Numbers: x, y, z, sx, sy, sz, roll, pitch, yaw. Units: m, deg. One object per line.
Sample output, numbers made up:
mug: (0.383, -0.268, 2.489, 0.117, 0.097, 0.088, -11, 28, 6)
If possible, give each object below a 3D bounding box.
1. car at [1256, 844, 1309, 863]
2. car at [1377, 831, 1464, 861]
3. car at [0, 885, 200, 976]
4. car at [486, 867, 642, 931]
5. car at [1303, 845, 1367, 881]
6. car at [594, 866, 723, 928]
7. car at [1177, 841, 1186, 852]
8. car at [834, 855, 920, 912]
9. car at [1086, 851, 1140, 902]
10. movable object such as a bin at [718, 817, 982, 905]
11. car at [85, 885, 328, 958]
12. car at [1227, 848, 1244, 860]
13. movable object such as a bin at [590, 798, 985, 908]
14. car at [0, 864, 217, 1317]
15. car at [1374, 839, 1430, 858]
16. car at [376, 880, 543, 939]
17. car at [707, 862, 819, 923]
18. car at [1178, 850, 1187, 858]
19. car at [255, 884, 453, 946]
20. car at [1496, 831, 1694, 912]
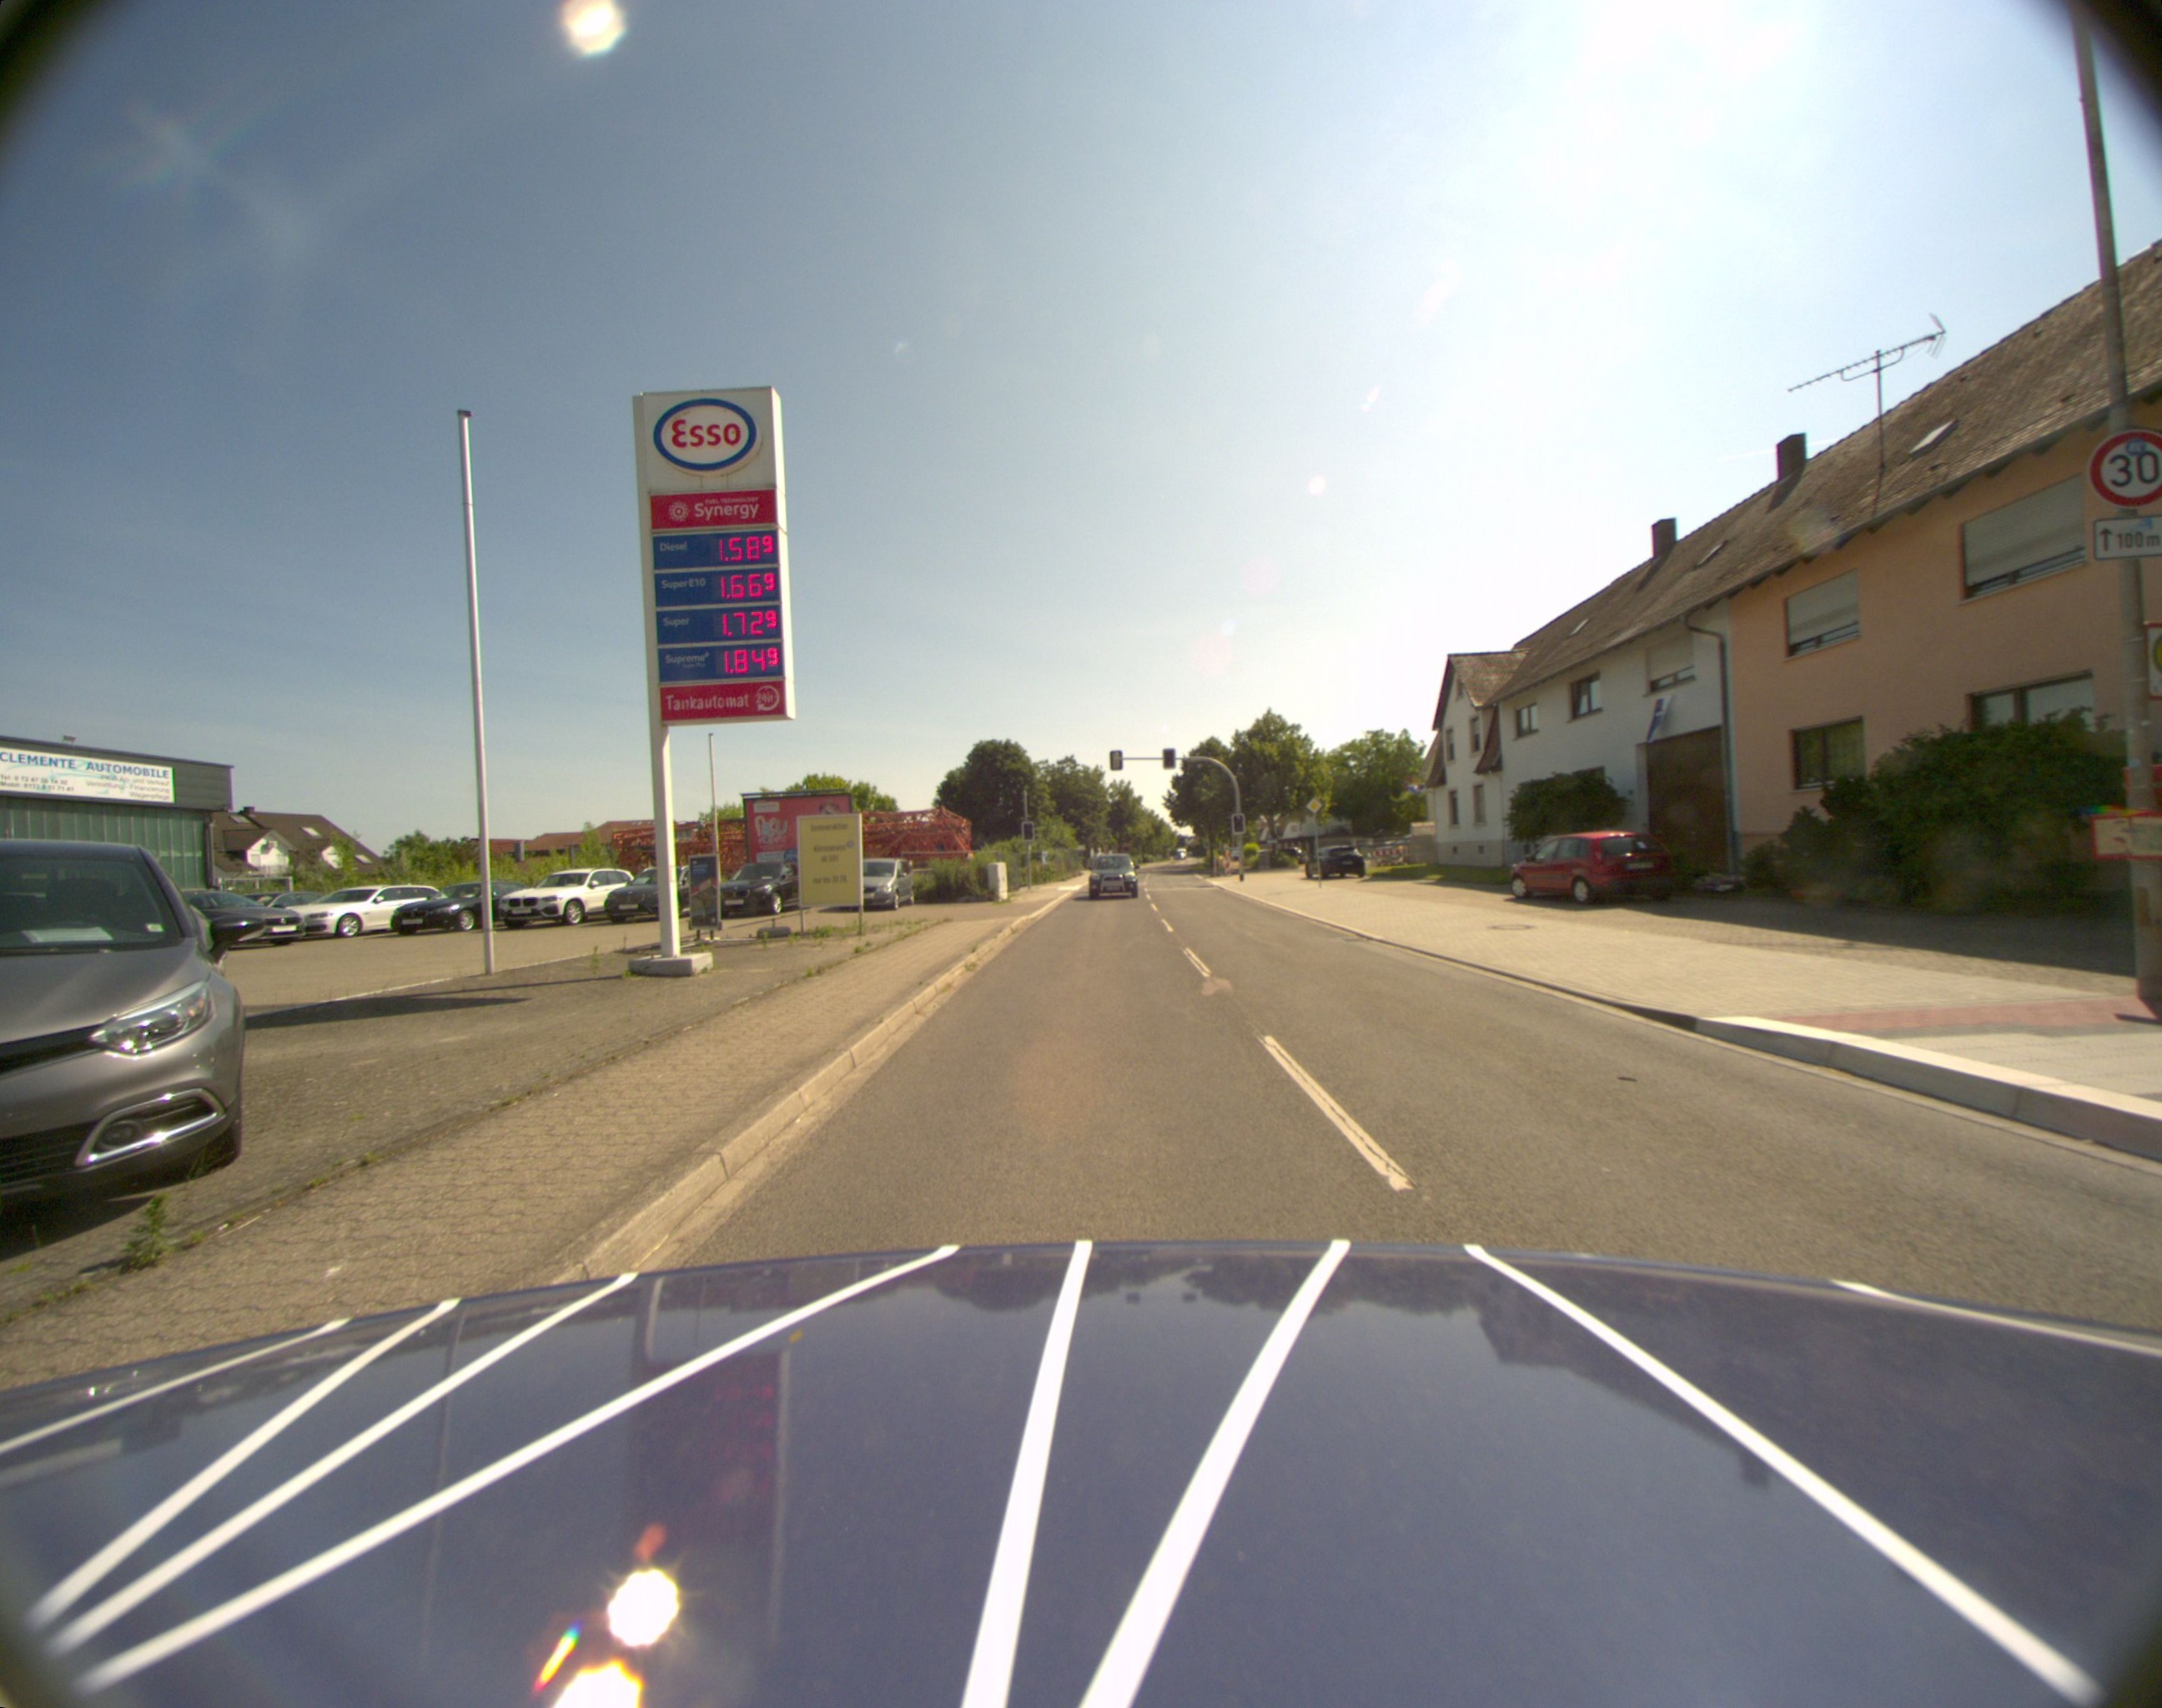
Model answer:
car: (17.645, 0.004, 66.500, 3.989, 1.496, 2.004, -2, 0, 36)
car: (25.755, -0.605, 57.776, 5.623, 2.033, 2.000, -2, 0, 2)
car: (-21.553, 1.584, 15.791, 4.152, 1.624, 1.811, -2, 1, -3)
car: (-15.602, 1.284, 23.281, 2.004, 1.583, 4.336, -2, 1, -5)
car: (11.460, 0.360, 34.556, 1.718, 1.399, 4.398, -1, 1, 5)
car: (-12.772, 1.234, 23.273, 1.846, 1.583, 4.104, -2, 1, -5)
car: (23.655, -1.752, 178.507, 1.937, 2.488, 5.841, -2, 1, 8)
car: (-6.561, 0.921, 24.919, 1.809, 1.676, 4.368, -1, -1, -3)
car: (1.286, 0.831, 29.242, 1.848, 1.686, 4.400, -3, -1, 4)
movable object such as a bin: (-12.333, 0.366, 41.337, 13.286, 4.141, 2.863, -2, 0, 1)
car: (-21.372, 1.619, 18.705, 3.688, 1.465, 1.811, -2, 1, -3)
car: (21.690, -0.006, 106.889, 1.997, 1.496, 4.002, -2, 0, 7)
movable object such as a bin: (-12.525, -0.025, 33.299, 16.091, 3.995, 2.773, -2, 0, 1)
car: (-5.668, 0.847, 3.645, 4.170, 1.546, 1.778, 0, 0, 38)
car: (27.726, -0.486, 65.812, 3.996, 1.496, 2.000, -2, 0, 3)
car: (-18.310, 1.584, 22.667, 1.846, 1.379, 3.998, -2, 1, -5)
car: (-9.658, 1.095, 23.421, 1.975, 1.583, 3.998, -2, 1, -5)
car: (21.802, -0.016, 163.412, 1.845, 1.583, 4.108, -2, 1, 8)
car: (-21.244, 1.725, 22.511, 1.846, 1.379, 4.374, -2, 1, -5)
car: (10.930, 0.368, 16.548, 1.718, 1.444, 3.916, -4, -1, 3)
